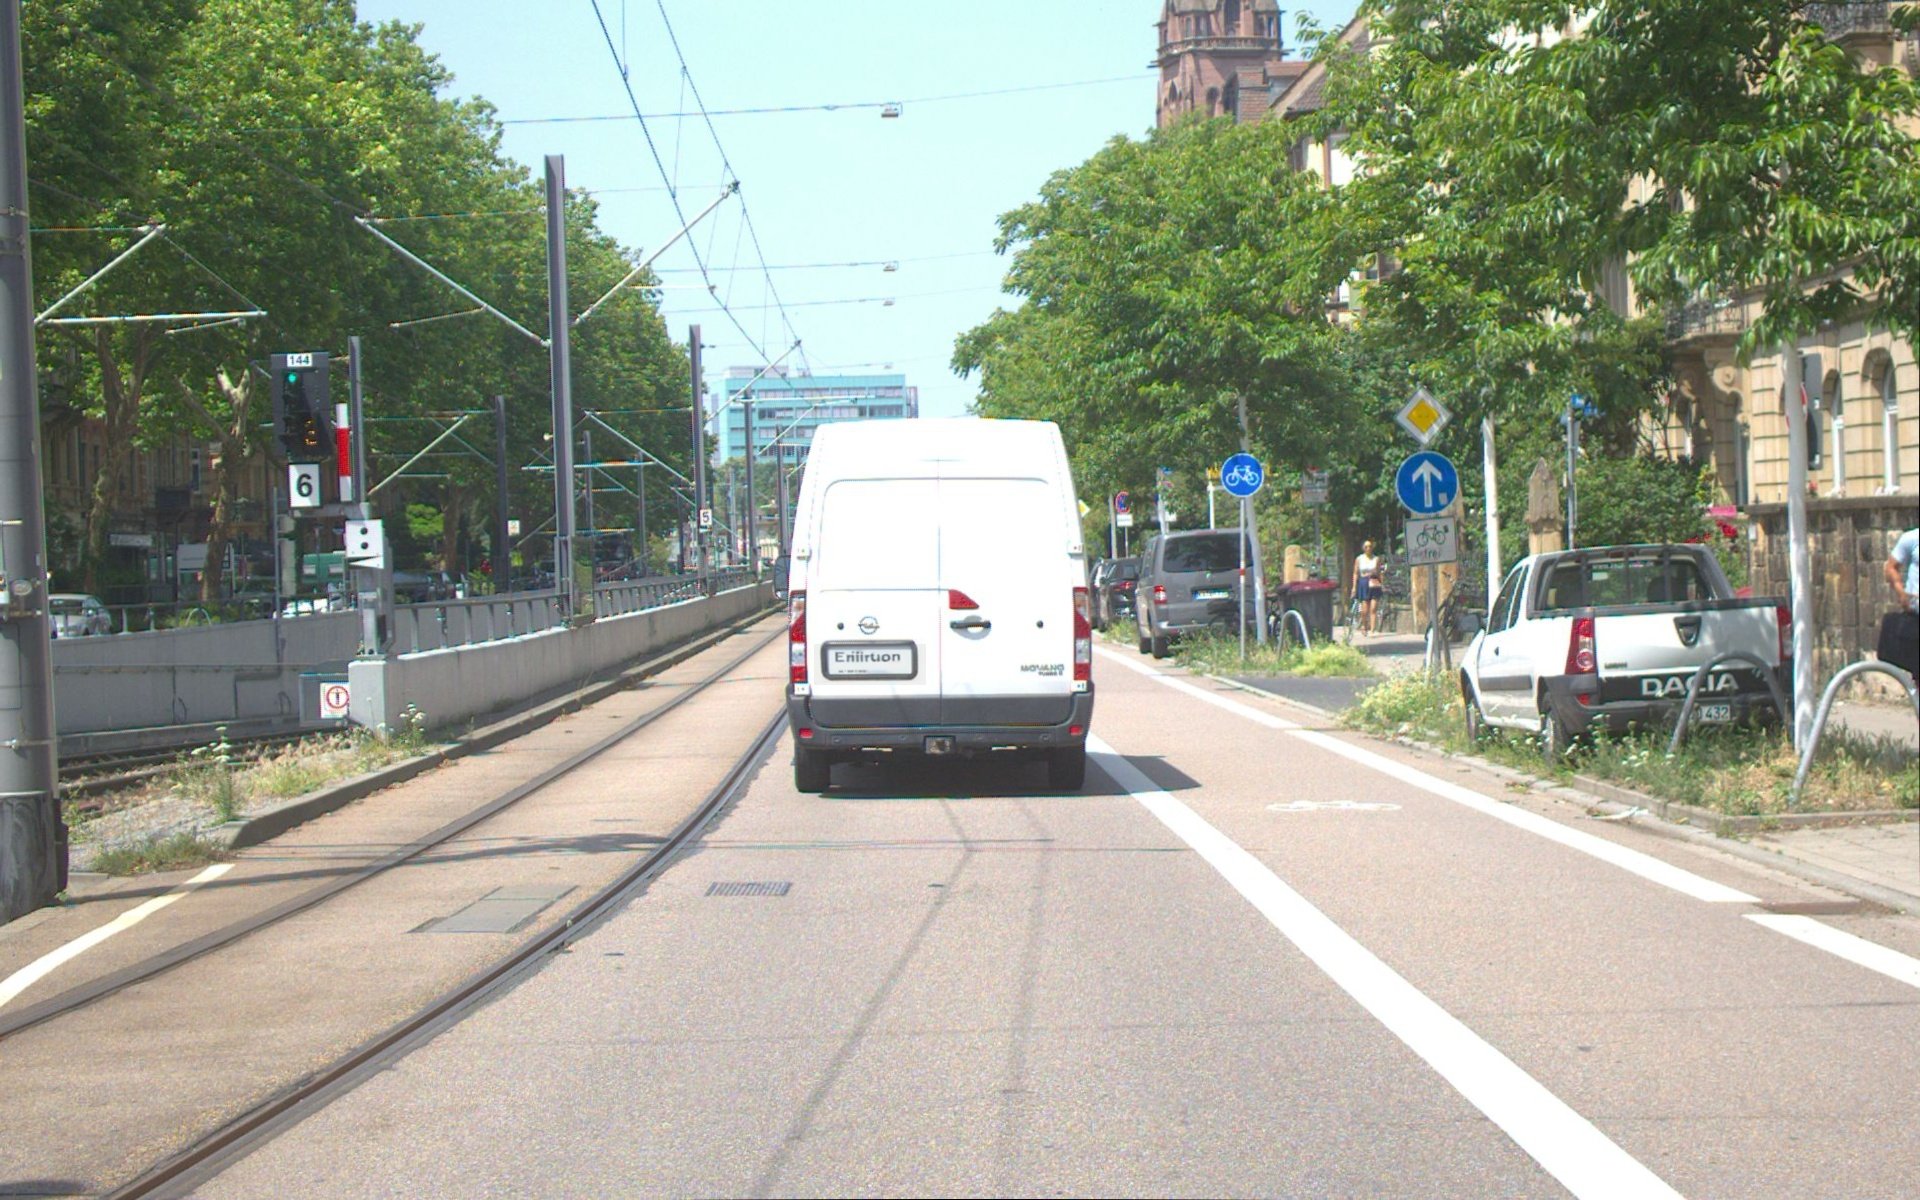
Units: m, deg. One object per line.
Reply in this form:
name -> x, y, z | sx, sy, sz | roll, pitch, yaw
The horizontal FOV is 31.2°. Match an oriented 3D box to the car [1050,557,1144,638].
car -> 2.777, -0.069, 70.378 | 1.667, 1.525, 4.013 | -2, 1, -1

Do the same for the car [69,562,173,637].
car -> -20.015, -0.030, 82.151 | 1.653, 1.678, 3.707 | -1, 1, -2

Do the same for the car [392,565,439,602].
car -> -21.960, -0.658, 138.731 | 1.373, 1.419, 3.088 | -2, 1, 0

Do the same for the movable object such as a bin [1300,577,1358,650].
movable object such as a bin -> 5.262, 0.184, 49.081 | 0.787, 1.010, 0.650 | -1, 1, 5

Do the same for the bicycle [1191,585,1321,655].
bicycle -> 4.464, 0.295, 51.853 | 1.880, 0.988, 0.470 | -2, 1, -10

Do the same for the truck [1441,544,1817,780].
truck -> 4.756, 0.378, 25.051 | 1.789, 1.521, 4.465 | -1, 1, -1

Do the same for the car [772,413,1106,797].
car -> -0.231, -0.012, 24.860 | 2.117, 2.450, 5.055 | -1, 1, -2

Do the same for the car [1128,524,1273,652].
car -> 3.858, -0.223, 55.883 | 1.879, 1.941, 4.837 | -2, 1, -1

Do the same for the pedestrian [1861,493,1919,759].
pedestrian -> 6.427, 0.161, 22.952 | 0.621, 1.749, 0.678 | -1, 1, 1

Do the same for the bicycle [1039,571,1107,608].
bicycle -> 3.131, -0.286, 95.492 | 1.842, 0.950, 0.503 | -2, 1, 1

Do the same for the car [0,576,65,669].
car -> -20.969, 0.474, 74.570 | 1.993, 1.898, 4.719 | -1, 1, -2

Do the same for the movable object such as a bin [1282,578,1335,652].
movable object such as a bin -> 5.113, 0.218, 50.417 | 0.746, 1.058, 0.496 | -1, 1, 5

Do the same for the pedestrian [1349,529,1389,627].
pedestrian -> 6.721, -0.363, 56.510 | 0.552, 1.592, 0.728 | -1, 1, 1
